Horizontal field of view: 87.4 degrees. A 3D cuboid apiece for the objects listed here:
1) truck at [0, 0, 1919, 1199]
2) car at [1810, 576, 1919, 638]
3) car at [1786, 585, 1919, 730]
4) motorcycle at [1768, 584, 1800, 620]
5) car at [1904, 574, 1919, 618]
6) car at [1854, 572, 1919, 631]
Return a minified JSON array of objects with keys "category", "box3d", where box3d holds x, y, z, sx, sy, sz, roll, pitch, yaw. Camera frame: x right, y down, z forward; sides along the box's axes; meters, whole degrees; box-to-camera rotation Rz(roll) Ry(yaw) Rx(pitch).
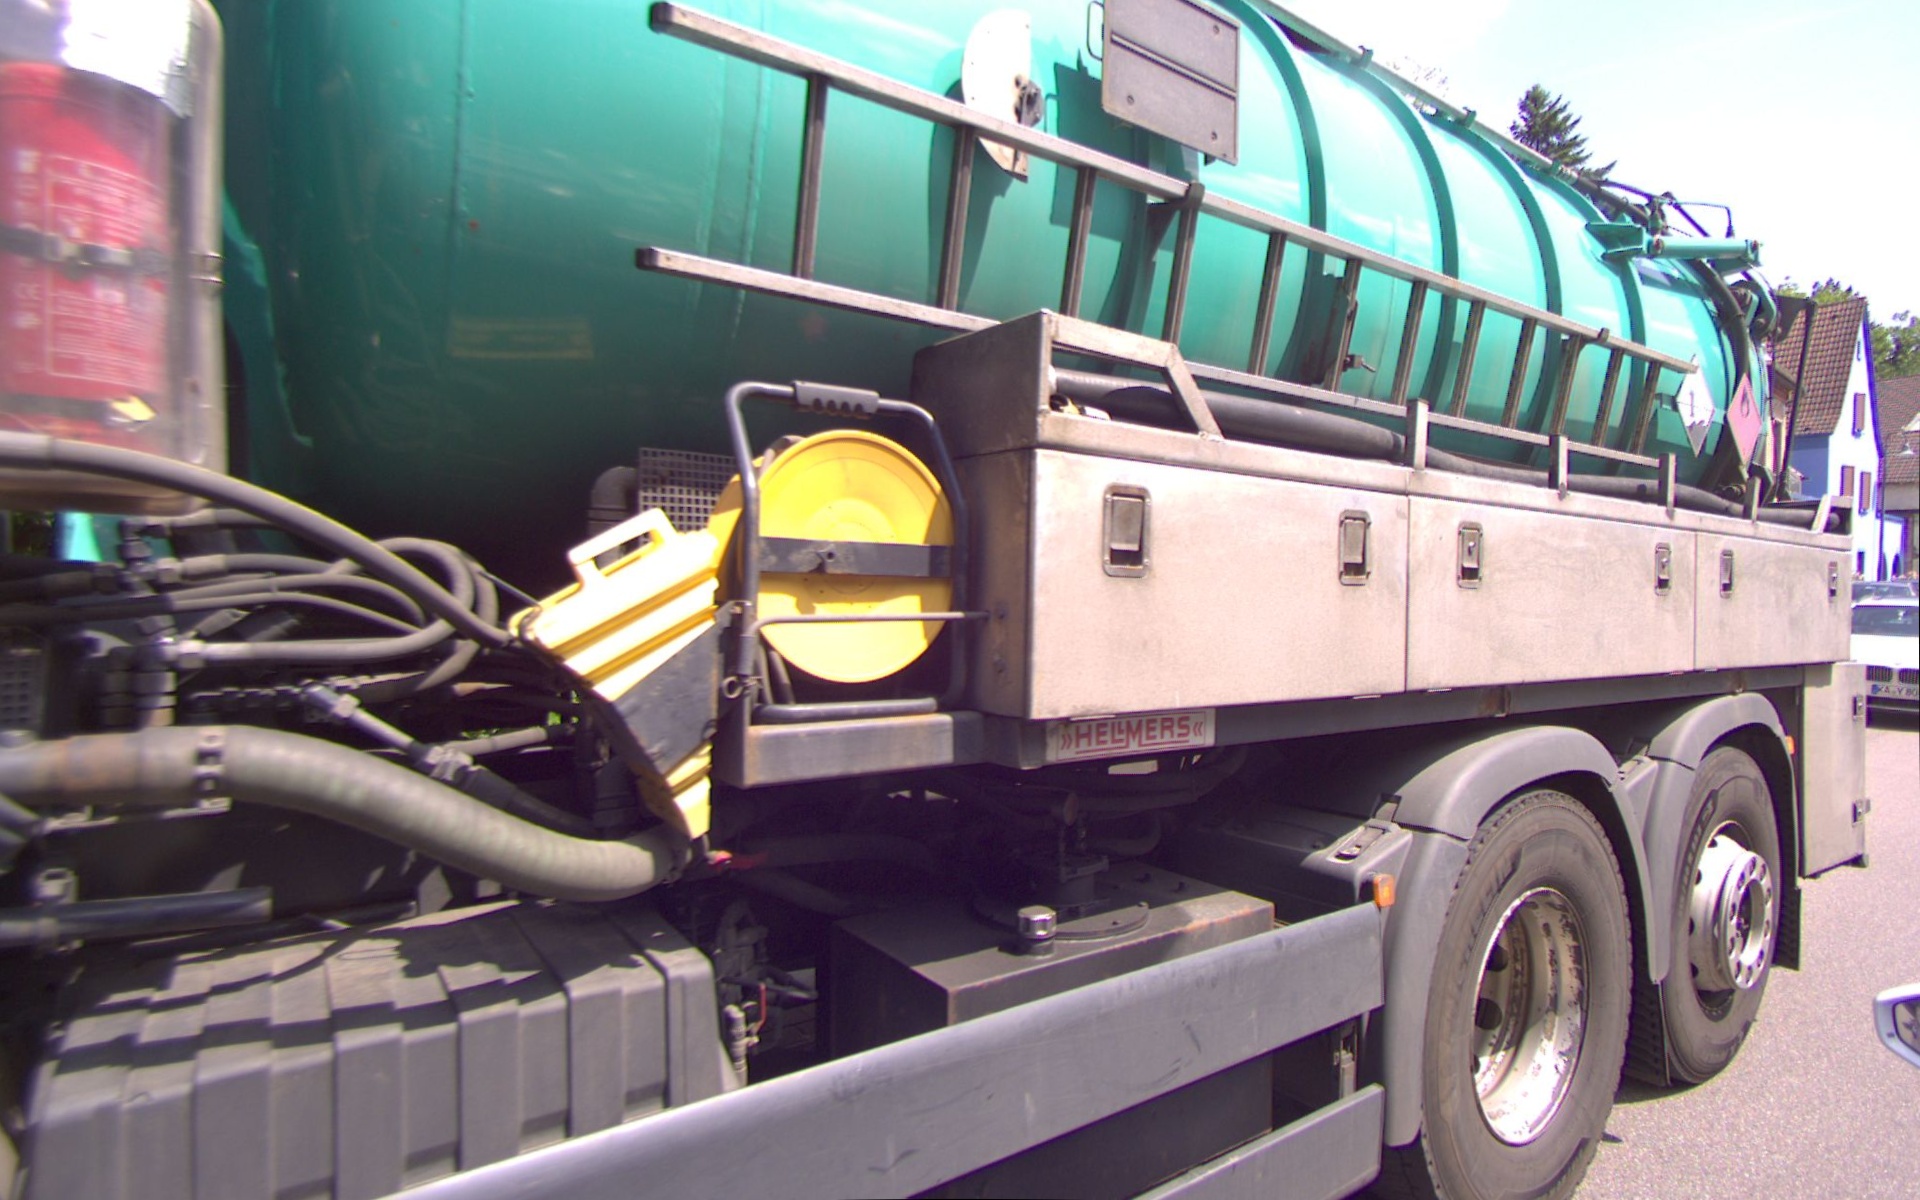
[{"category":"truck","box3d":[0.412,-0.424,2.974,9.472,3.706,2.396,1,-1,-35]},{"category":"car","box3d":[24.221,0.131,26.686,4.512,1.485,1.938,-1,3,-43]},{"category":"car","box3d":[12.205,0.631,12.869,4.580,1.521,1.877,-1,4,-43]},{"category":"motorcycle","box3d":[24.981,0.055,30.453,1.845,1.014,0.413,-1,7,-43]},{"category":"car","box3d":[35.846,-0.175,36.503,3.822,1.550,1.703,-2,2,-39]},{"category":"car","box3d":[28.090,0.021,29.595,4.629,1.484,1.869,-2,6,-40]}]
